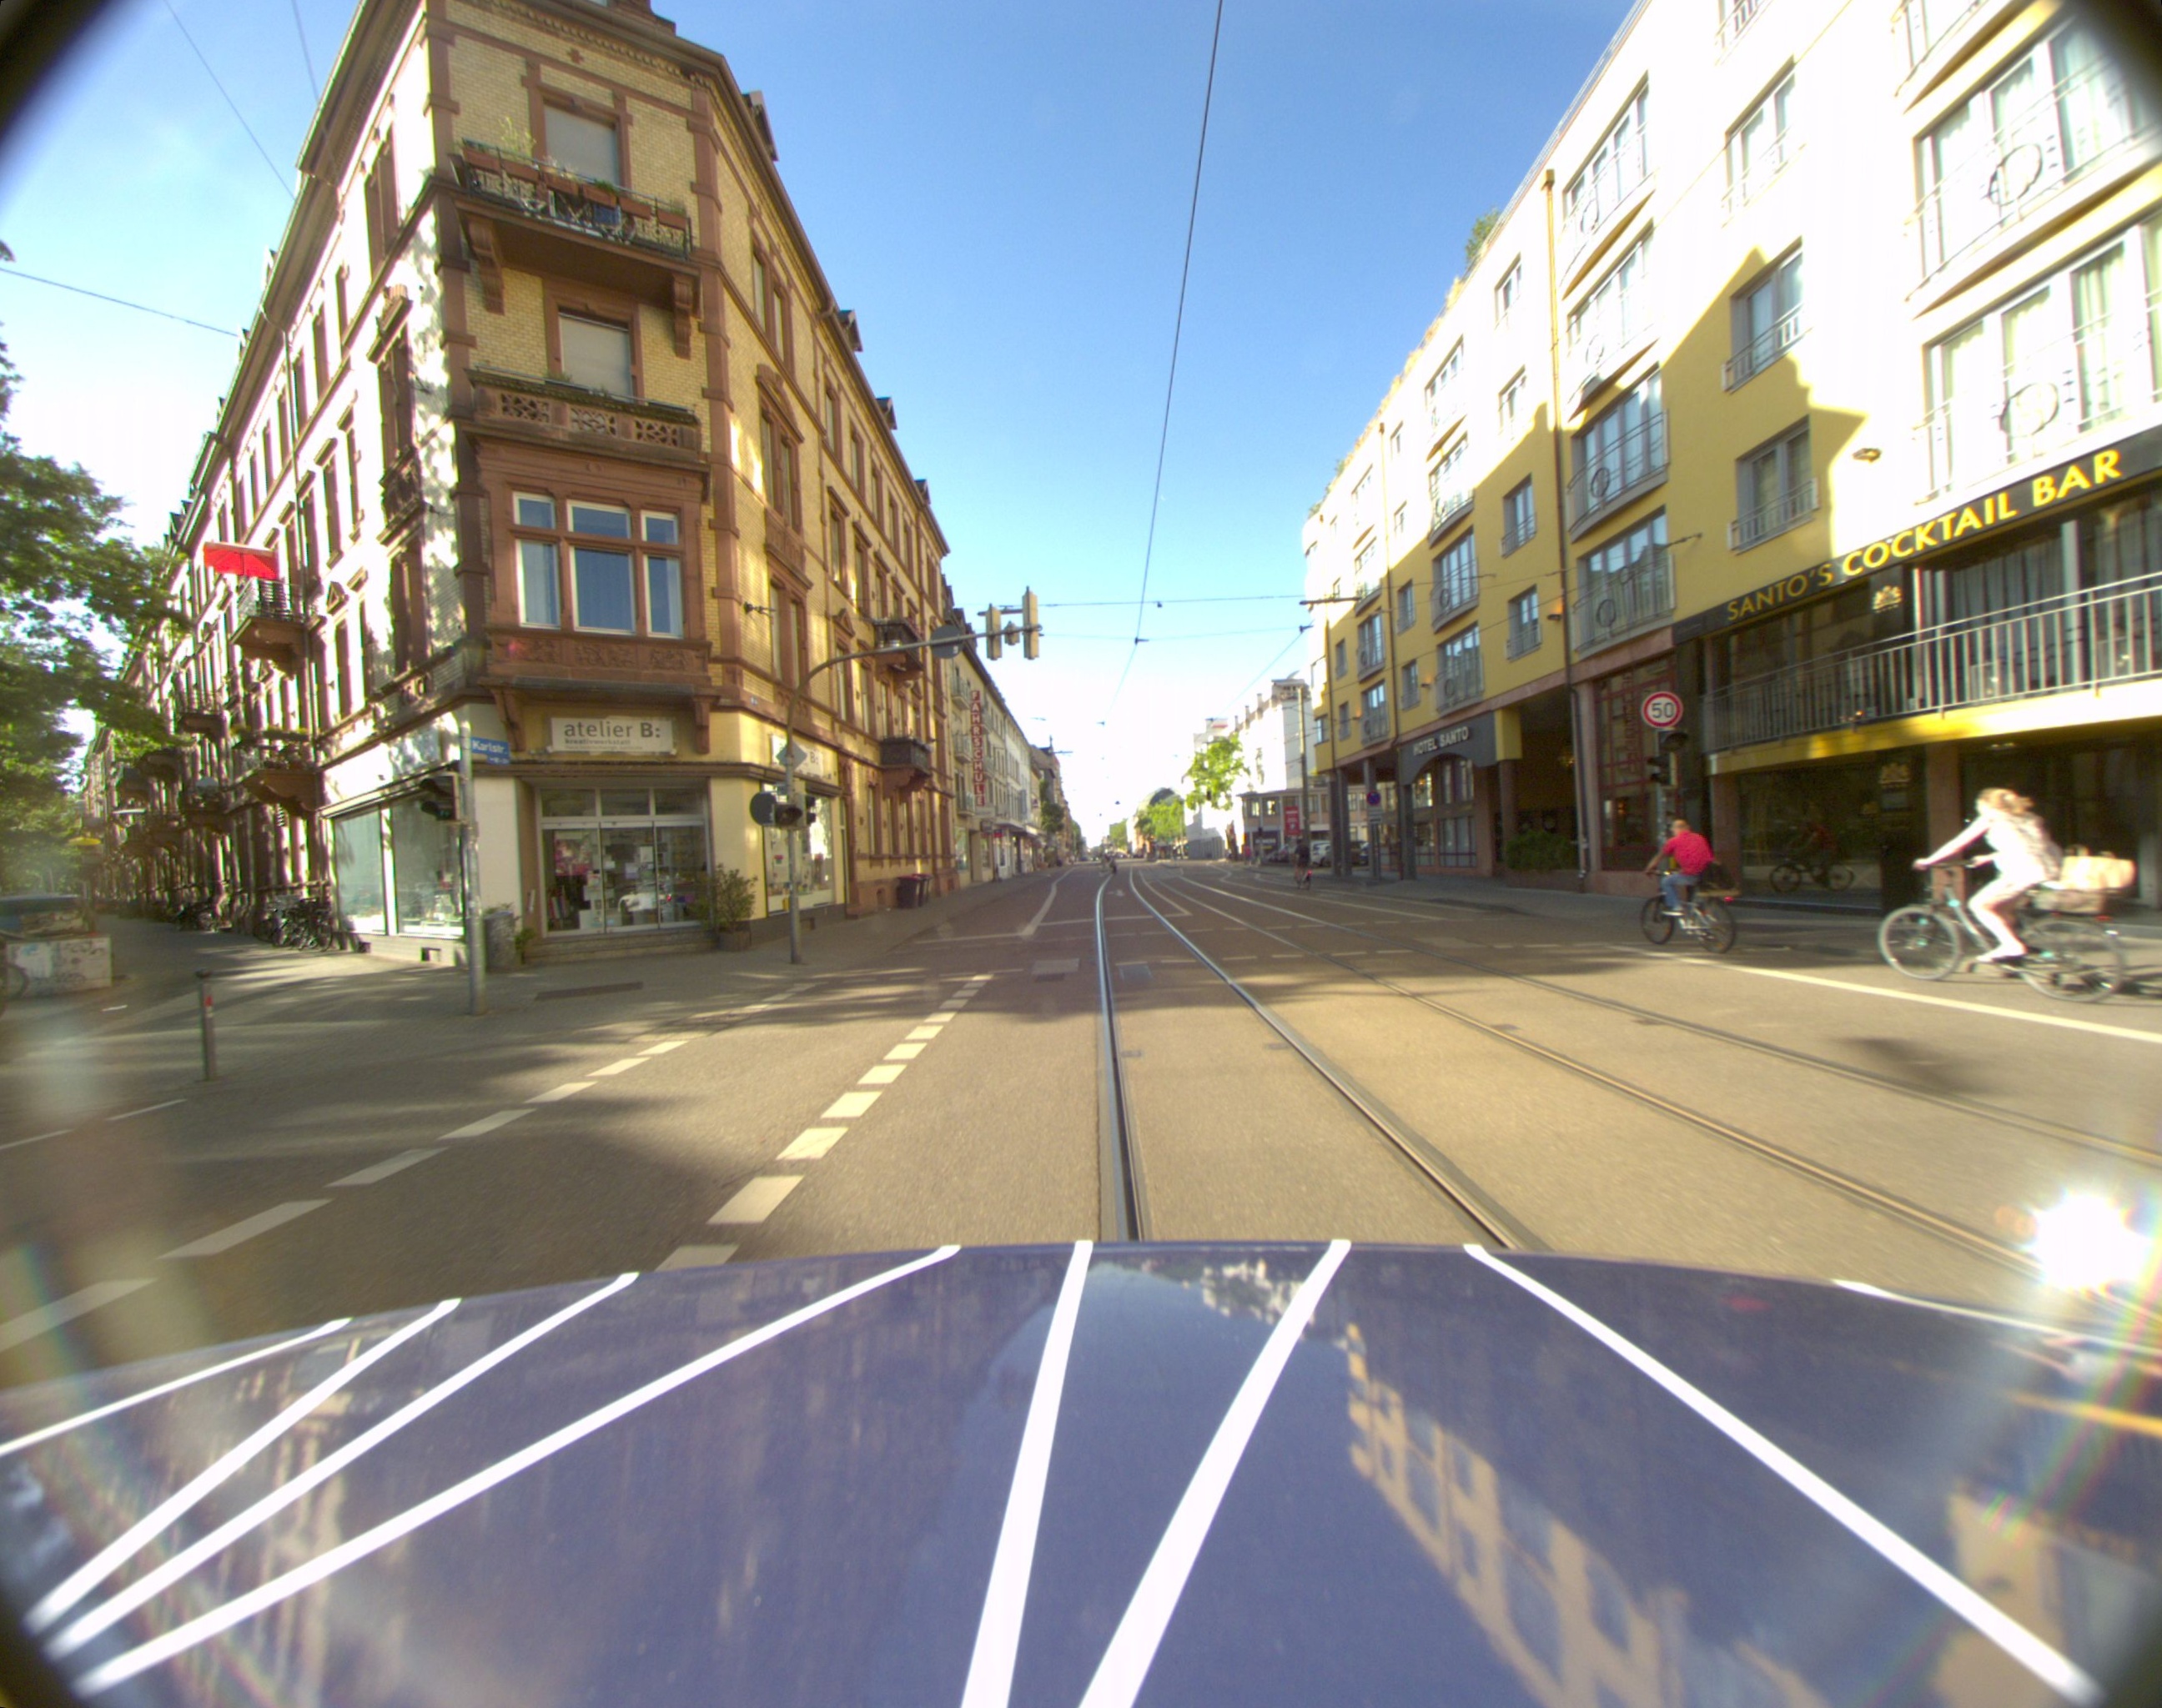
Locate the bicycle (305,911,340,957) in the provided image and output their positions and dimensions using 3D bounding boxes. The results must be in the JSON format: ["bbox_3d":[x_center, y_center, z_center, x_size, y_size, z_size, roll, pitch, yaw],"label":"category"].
[{"bbox_3d":[-17.815,1.868,17.841,0.996,0.998,0.398,-3,1,36],"label":"bicycle"}]

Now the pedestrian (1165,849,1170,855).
[{"bbox_3d":[14.266,-0.278,125.364,0.794,0.982,0.747,-3,1,2],"label":"pedestrian"}]

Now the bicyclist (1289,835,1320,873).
[{"bbox_3d":[8.397,-0.008,28.570,0.726,1.373,1.227,-3,1,-1],"label":"bicyclist"}]

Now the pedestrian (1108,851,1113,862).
[{"bbox_3d":[4.625,0.381,120.444,0.716,1.635,0.400,-3,1,3],"label":"pedestrian"}]

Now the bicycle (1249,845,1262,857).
[{"bbox_3d":[15.979,-0.269,69.798,0.525,1.030,1.878,-3,0,-6],"label":"bicycle"}]

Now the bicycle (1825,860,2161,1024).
[{"bbox_3d":[8.034,0.672,6.774,0.732,1.176,2.061,-3,0,0],"label":"bicycle"}]

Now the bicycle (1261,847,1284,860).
[{"bbox_3d":[16.839,-0.040,66.876,1.875,1.030,0.426,-3,1,26],"label":"bicycle"}]

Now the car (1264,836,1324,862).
[{"bbox_3d":[17.228,-0.413,61.623,4.244,1.753,1.785,-4,1,1],"label":"car"}]

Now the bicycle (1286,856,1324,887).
[{"bbox_3d":[8.425,0.626,28.665,0.732,1.082,2.061,-3,0,0],"label":"bicycle"}]

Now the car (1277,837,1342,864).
[{"bbox_3d":[16.913,-0.244,56.396,4.243,1.801,1.785,-3,0,2],"label":"car"}]

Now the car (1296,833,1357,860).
[{"bbox_3d":[17.358,-0.544,53.876,3.698,1.663,1.785,-4,0,1],"label":"car"}]

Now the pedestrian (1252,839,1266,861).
[{"bbox_3d":[14.215,-0.323,60.690,0.715,1.754,0.779,-3,1,-7],"label":"pedestrian"}]

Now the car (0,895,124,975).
[{"bbox_3d":[-24.017,1.827,16.334,1.821,1.592,4.007,-2,0,31],"label":"car"}]

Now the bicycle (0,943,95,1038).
[{"bbox_3d":[-14.601,1.885,10.117,0.543,1.136,1.619,-2,3,23],"label":"bicycle"}]

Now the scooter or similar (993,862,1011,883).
[{"bbox_3d":[-5.072,1.196,48.674,0.410,1.274,1.286,13,0,17],"label":"scooter or similar"}]

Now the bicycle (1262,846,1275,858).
[{"bbox_3d":[16.822,-0.196,68.314,0.464,1.073,1.878,-3,0,-6],"label":"bicycle"}]

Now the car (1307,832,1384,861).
[{"bbox_3d":[16.873,-0.462,48.675,4.243,1.599,1.786,-3,-1,2],"label":"car"}]

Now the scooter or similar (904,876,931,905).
[{"bbox_3d":[-5.694,1.276,26.483,0.792,0.952,0.680,1,1,-1],"label":"scooter or similar"}]

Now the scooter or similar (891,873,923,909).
[{"bbox_3d":[-5.680,1.205,24.824,0.899,1.142,0.547,2,1,-1],"label":"scooter or similar"}]

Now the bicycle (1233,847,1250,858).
[{"bbox_3d":[18.475,-0.169,87.373,1.877,1.071,0.465,-3,1,9],"label":"bicycle"}]

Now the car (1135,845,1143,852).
[{"bbox_3d":[18.014,-1.794,236.267,1.884,2.001,4.000,-5,-1,0],"label":"car"}]

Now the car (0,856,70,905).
[{"bbox_3d":[-42.621,1.089,29.051,1.547,1.822,4.679,-2,0,36],"label":"car"}]

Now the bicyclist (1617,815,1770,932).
[{"bbox_3d":[7.868,0.229,9.850,0.737,1.373,1.468,-3,1,0],"label":"bicyclist"}]

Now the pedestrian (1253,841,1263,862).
[{"bbox_3d":[13.557,-0.211,58.108,0.573,1.608,0.499,-3,1,0],"label":"pedestrian"}]

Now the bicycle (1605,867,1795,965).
[{"bbox_3d":[7.881,0.738,9.835,0.732,1.059,2.061,-3,0,0],"label":"bicycle"}]

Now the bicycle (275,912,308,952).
[{"bbox_3d":[-20.367,1.992,19.596,1.283,0.951,0.398,-3,1,36],"label":"bicycle"}]

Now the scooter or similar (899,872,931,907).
[{"bbox_3d":[-5.615,1.198,25.724,0.935,1.142,0.650,1,1,-1],"label":"scooter or similar"}]

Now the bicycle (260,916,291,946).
[{"bbox_3d":[-22.929,2.174,21.625,1.342,0.793,0.398,-3,1,36],"label":"bicycle"}]

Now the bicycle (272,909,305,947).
[{"bbox_3d":[-21.604,2.004,20.712,1.342,0.951,0.398,-3,1,36],"label":"bicycle"}]

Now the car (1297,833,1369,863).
[{"bbox_3d":[16.919,-0.407,51.212,4.244,1.802,1.784,-2,3,1],"label":"car"}]

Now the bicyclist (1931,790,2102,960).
[{"bbox_3d":[8.033,0.172,6.554,0.591,1.368,0.679,-3,1,-1],"label":"bicyclist"}]

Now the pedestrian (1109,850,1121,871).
[{"bbox_3d":[2.594,0.484,57.421,0.781,1.551,0.650,-3,1,-1],"label":"pedestrian"}]

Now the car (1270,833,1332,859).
[{"bbox_3d":[17.017,-0.614,58.892,4.244,1.801,1.785,-3,1,1],"label":"car"}]

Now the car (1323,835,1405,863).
[{"bbox_3d":[17.106,-0.324,46.041,4.244,1.540,1.784,-2,2,1],"label":"car"}]

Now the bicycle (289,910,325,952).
[{"bbox_3d":[-19.143,1.889,18.791,1.283,0.951,0.398,-3,1,36],"label":"bicycle"}]

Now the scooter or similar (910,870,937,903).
[{"bbox_3d":[-5.761,1.186,27.825,0.792,1.142,0.790,1,1,-1],"label":"scooter or similar"}]

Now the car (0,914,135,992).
[{"bbox_3d":[-22.142,2.074,15.036,1.821,1.363,4.007,-3,0,31],"label":"car"}]

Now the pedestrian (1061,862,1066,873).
[{"bbox_3d":[-2.666,2.053,115.133,0.695,1.680,0.688,-3,1,1],"label":"pedestrian"}]

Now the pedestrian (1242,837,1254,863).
[{"bbox_3d":[12.789,-0.304,58.098,0.639,1.935,0.709,-3,1,0],"label":"pedestrian"}]

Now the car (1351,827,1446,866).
[{"bbox_3d":[16.813,-0.381,40.383,4.243,1.801,1.785,-3,1,2],"label":"car"}]
